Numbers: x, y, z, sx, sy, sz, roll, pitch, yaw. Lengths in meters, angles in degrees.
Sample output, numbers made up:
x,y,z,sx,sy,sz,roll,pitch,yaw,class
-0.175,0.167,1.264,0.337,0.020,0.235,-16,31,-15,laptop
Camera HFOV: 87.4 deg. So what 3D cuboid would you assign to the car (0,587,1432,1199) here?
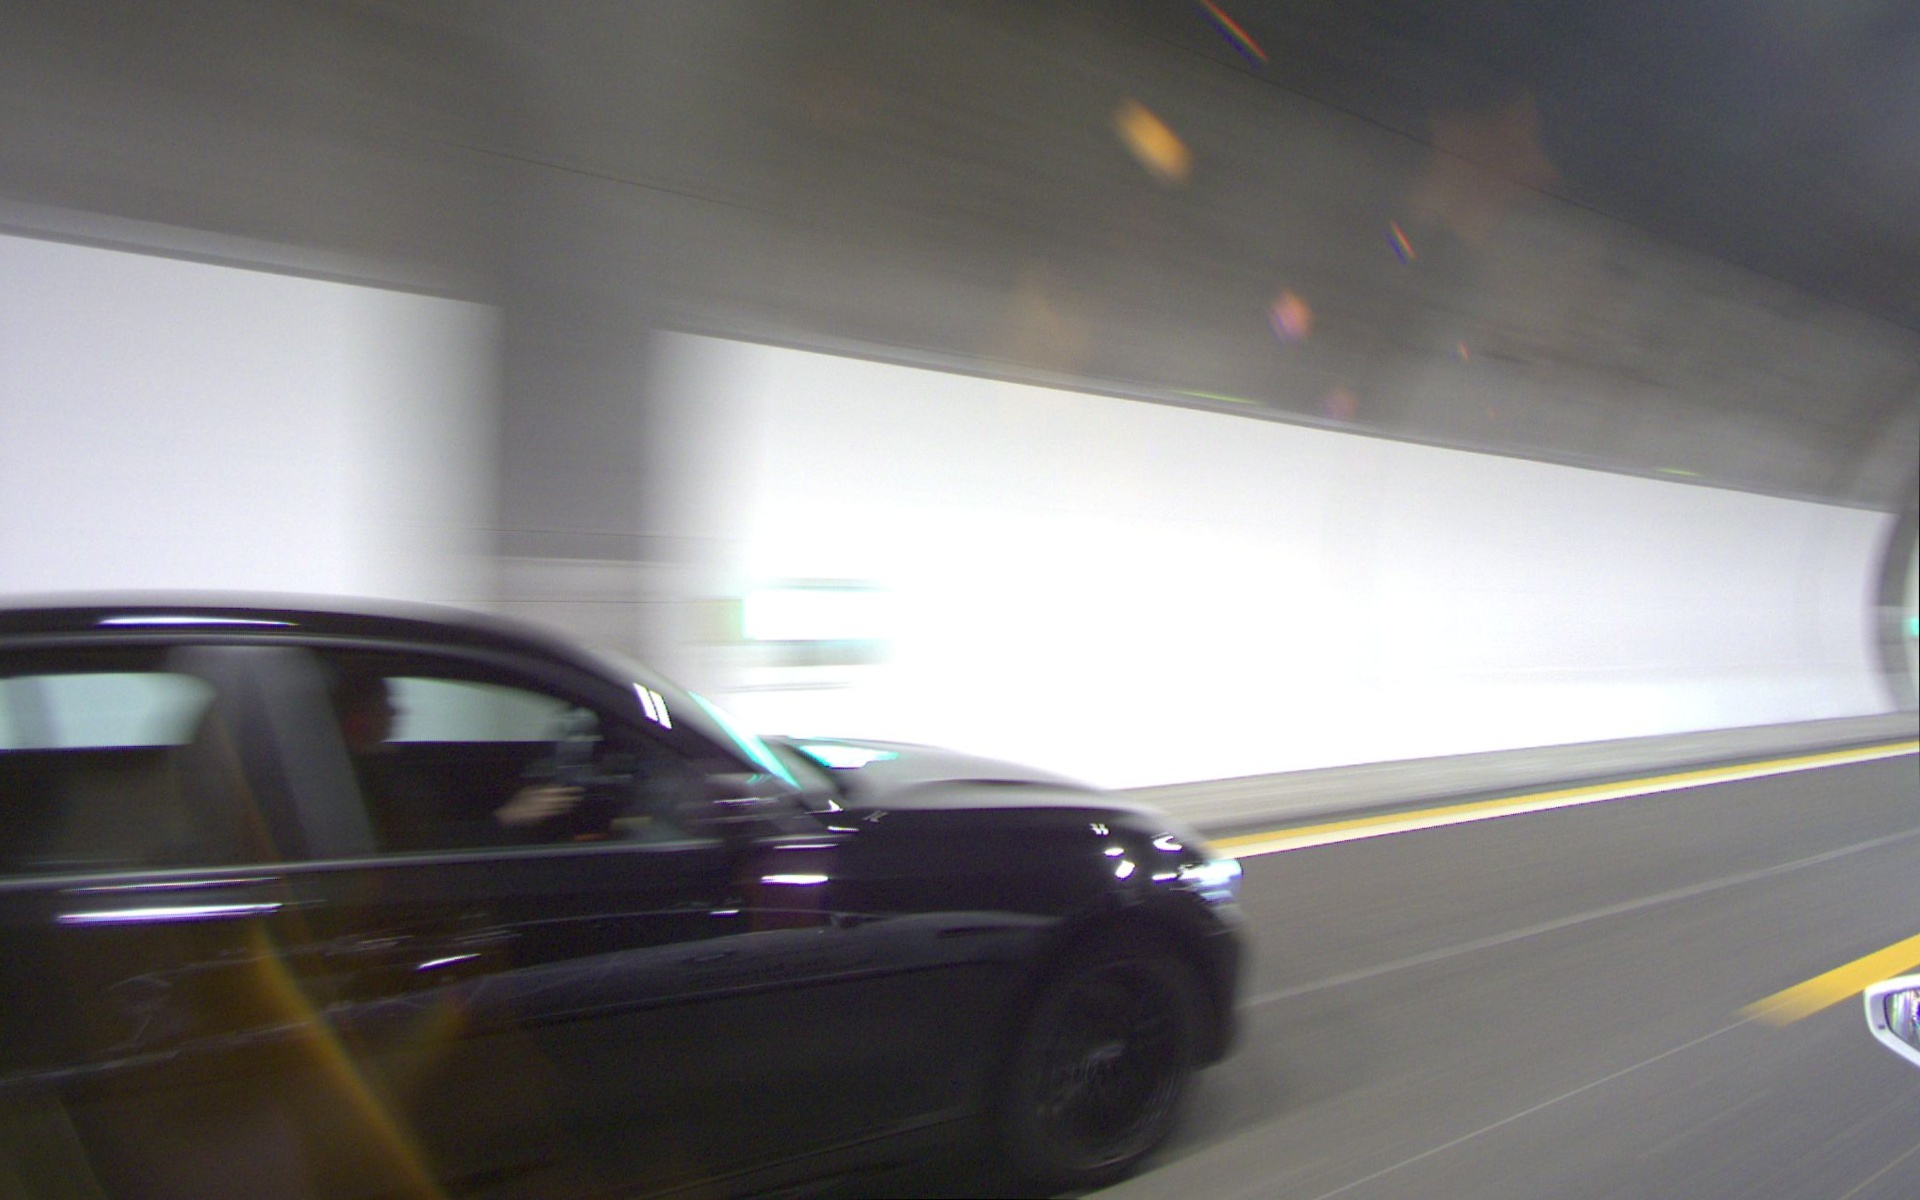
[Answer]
x,y,z,sx,sy,sz,roll,pitch,yaw,class
-1.141,0.724,2.534,4.824,1.457,1.770,1,0,-30,car
